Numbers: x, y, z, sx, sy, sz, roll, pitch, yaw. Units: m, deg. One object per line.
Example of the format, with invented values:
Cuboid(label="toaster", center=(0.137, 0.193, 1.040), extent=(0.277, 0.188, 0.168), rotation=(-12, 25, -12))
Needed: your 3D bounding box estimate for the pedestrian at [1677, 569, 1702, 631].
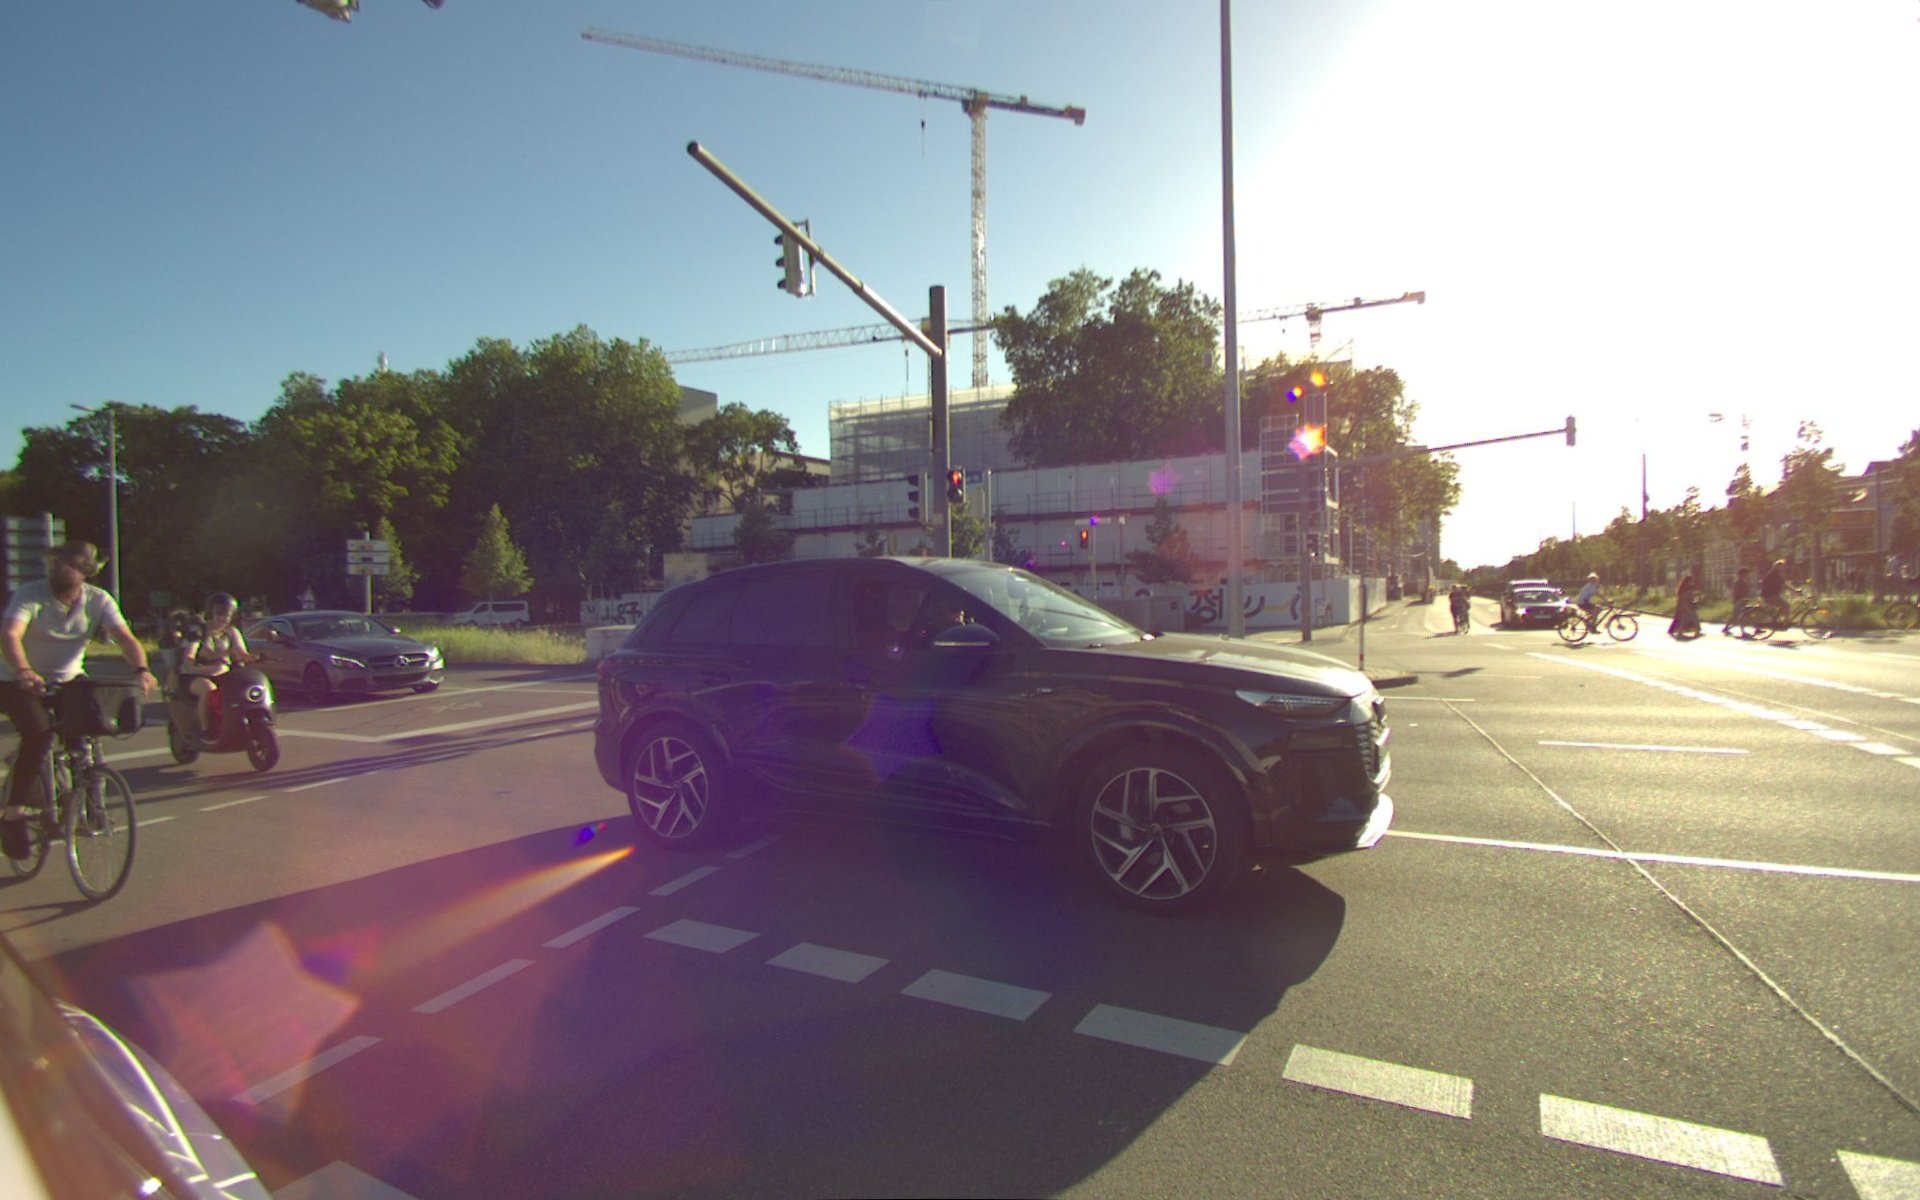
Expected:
Cuboid(label="pedestrian", center=(18.963, -0.002, 26.324), extent=(0.449, 1.578, 0.514), rotation=(-2, 0, 32))

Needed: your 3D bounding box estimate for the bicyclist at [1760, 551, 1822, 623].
Cuboid(label="bicyclist", center=(18.659, -0.287, 22.743), extent=(0.938, 1.556, 0.642), rotation=(-2, -1, 32))

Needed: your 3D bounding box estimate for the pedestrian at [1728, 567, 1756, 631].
Cuboid(label="pedestrian", center=(19.707, -0.021, 25.505), extent=(0.449, 1.578, 0.514), rotation=(-2, 0, 32))

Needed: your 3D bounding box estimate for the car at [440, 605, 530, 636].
Cuboid(label="car", center=(-32.305, 1.384, 68.982), extent=(1.994, 1.906, 5.270), rotation=(-3, 0, 33))

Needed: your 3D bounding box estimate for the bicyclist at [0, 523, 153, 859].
Cuboid(label="bicyclist", center=(-4.934, 0.459, 5.530), extent=(0.786, 1.682, 0.691), rotation=(-2, 0, 43))

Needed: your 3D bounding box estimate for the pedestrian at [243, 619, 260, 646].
Cuboid(label="pedestrian", center=(-45.890, 2.118, 65.542), extent=(0.695, 1.739, 0.658), rotation=(-2, 0, 32))

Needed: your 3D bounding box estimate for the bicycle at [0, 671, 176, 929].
Cuboid(label="bicycle", center=(-4.914, 0.986, 5.535), extent=(1.800, 1.102, 0.699), rotation=(-2, 0, 43))

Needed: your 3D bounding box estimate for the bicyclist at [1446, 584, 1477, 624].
Cuboid(label="bicyclist", center=(16.585, 0.122, 33.460), extent=(0.793, 1.280, 0.638), rotation=(-2, 0, -42))

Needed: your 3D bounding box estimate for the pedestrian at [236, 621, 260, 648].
Cuboid(label="pedestrian", center=(-48.264, 2.333, 68.587), extent=(0.961, 1.796, 0.987), rotation=(-1, 1, 32))

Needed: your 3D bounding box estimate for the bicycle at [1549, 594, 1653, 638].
Cuboid(label="bicycle", center=(15.648, 0.386, 24.784), extent=(2.069, 0.986, 0.797), rotation=(-3, 0, 30))

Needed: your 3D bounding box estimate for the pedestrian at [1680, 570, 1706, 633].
Cuboid(label="pedestrian", center=(18.636, 0.036, 25.746), extent=(0.449, 1.578, 0.514), rotation=(-2, 0, 32))

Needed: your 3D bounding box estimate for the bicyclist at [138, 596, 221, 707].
Cuboid(label="bicyclist", center=(-11.118, 0.716, 14.412), extent=(0.935, 1.514, 0.618), rotation=(-2, 1, 33))

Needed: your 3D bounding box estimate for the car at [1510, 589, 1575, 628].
Cuboid(label="car", center=(23.263, 0.323, 40.564), extent=(1.990, 1.386, 3.963), rotation=(-3, 0, 27))

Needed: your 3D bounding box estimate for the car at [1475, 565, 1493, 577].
Cuboid(label="car", center=(66.042, -3.637, 127.653), extent=(1.776, 1.335, 3.967), rotation=(-1, 2, 25))

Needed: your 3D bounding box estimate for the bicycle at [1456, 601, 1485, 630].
Cuboid(label="bicycle", center=(18.394, 0.546, 36.446), extent=(0.802, 0.934, 2.057), rotation=(-3, 0, 29))

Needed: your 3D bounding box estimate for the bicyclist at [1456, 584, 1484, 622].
Cuboid(label="bicyclist", center=(18.380, 0.104, 36.458), extent=(0.802, 1.307, 0.769), rotation=(-3, 0, 30))

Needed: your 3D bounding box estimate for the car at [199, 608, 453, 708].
Cuboid(label="car", center=(-10.381, 0.881, 16.467), extent=(4.513, 1.362, 1.757), rotation=(-1, 1, 33))

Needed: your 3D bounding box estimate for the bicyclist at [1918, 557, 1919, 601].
Cuboid(label="bicyclist", center=(23.867, -0.381, 24.527), extent=(0.841, 1.367, 0.795), rotation=(-3, 0, 40))

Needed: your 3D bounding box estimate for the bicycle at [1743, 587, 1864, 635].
Cuboid(label="bicycle", center=(18.820, 0.243, 22.639), extent=(1.972, 1.004, 0.642), rotation=(-2, -1, 32))

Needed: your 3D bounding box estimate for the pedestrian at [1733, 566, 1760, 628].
Cuboid(label="pedestrian", center=(20.300, -0.078, 26.121), extent=(0.449, 1.578, 0.514), rotation=(-2, 0, 32))

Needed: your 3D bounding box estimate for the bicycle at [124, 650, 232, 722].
Cuboid(label="bicycle", center=(-11.199, 1.205, 14.479), extent=(1.905, 0.915, 0.618), rotation=(-2, 1, 33))

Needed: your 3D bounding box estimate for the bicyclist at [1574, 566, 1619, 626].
Cuboid(label="bicyclist", center=(15.602, -0.103, 24.821), extent=(0.839, 1.412, 0.797), rotation=(-3, 0, 29))

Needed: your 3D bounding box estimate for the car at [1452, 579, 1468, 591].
Cuboid(label="car", center=(63.452, -1.916, 128.387), extent=(1.776, 1.335, 3.966), rotation=(-1, 2, 26))

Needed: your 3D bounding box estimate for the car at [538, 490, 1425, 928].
Cuboid(label="car", center=(0.044, 0.458, 5.983), extent=(4.771, 1.674, 2.180), rotation=(-2, 0, 29))

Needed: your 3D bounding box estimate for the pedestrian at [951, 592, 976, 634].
Cuboid(label="pedestrian", center=(0.154, 0.532, 41.186), extent=(0.652, 1.693, 0.831), rotation=(-2, 0, 32))

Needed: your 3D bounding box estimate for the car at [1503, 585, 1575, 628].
Cuboid(label="car", center=(20.843, 0.210, 36.557), extent=(1.990, 1.386, 3.963), rotation=(-3, 0, 27))

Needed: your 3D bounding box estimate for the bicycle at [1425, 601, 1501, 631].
Cuboid(label="bicycle", center=(16.605, 0.535, 33.436), extent=(0.793, 0.934, 2.080), rotation=(-2, 0, -42))

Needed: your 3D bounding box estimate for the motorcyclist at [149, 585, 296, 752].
Cuboid(label="motorcyclist", center=(-6.989, 0.620, 9.604), extent=(0.876, 1.495, 0.751), rotation=(-2, 1, 24))

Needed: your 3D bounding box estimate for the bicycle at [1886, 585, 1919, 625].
Cuboid(label="bicycle", center=(23.889, 0.093, 24.517), extent=(2.075, 0.934, 0.795), rotation=(-3, 0, 40))

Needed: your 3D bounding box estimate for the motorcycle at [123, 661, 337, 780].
Cuboid(label="motorcycle", center=(-6.919, 1.098, 9.585), extent=(1.948, 0.976, 0.751), rotation=(-2, 1, 24))
